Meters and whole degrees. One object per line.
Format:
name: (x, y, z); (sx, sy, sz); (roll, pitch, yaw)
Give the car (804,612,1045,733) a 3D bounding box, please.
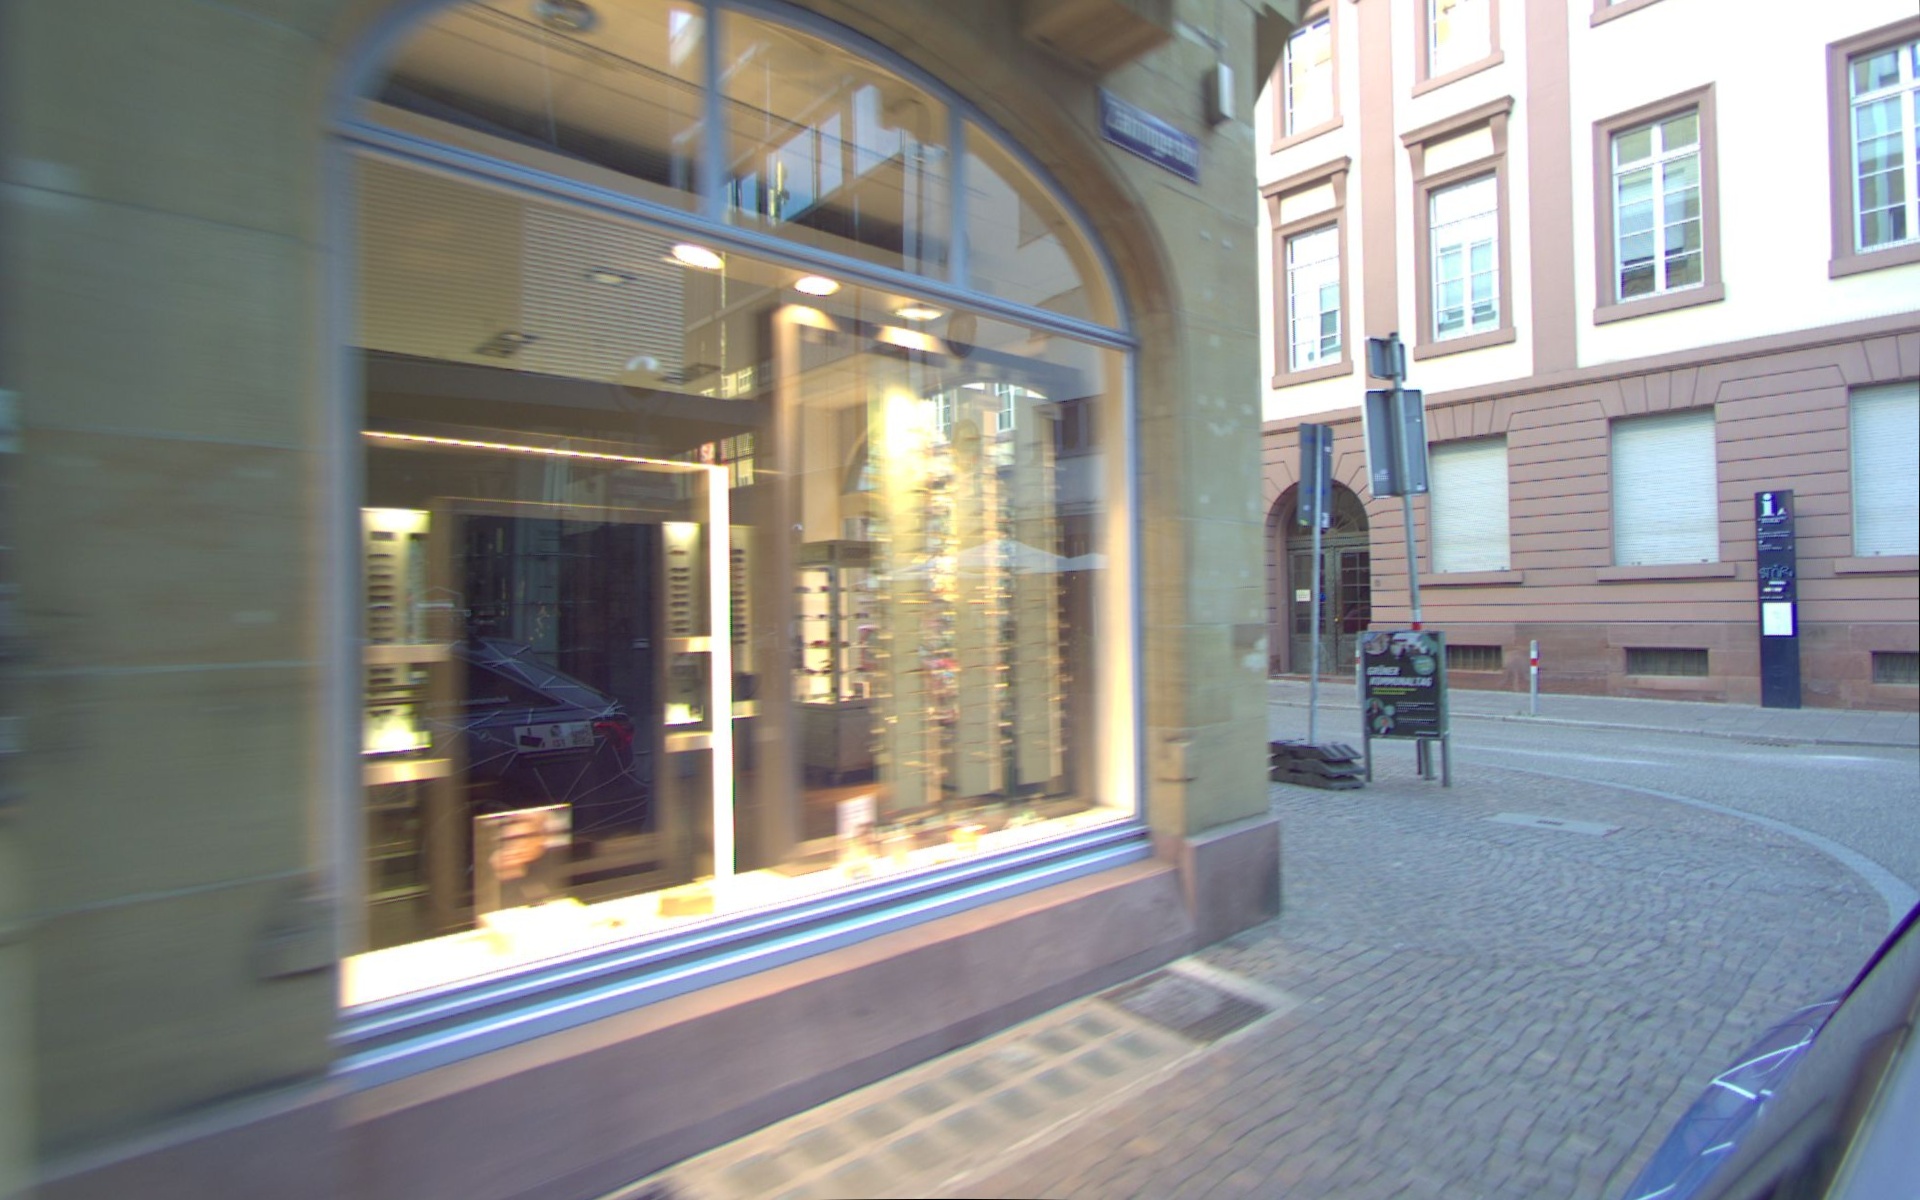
car: (-0.625, 0.966, 14.912); (1.592, 1.442, 3.590); (-4, 2, -41)
